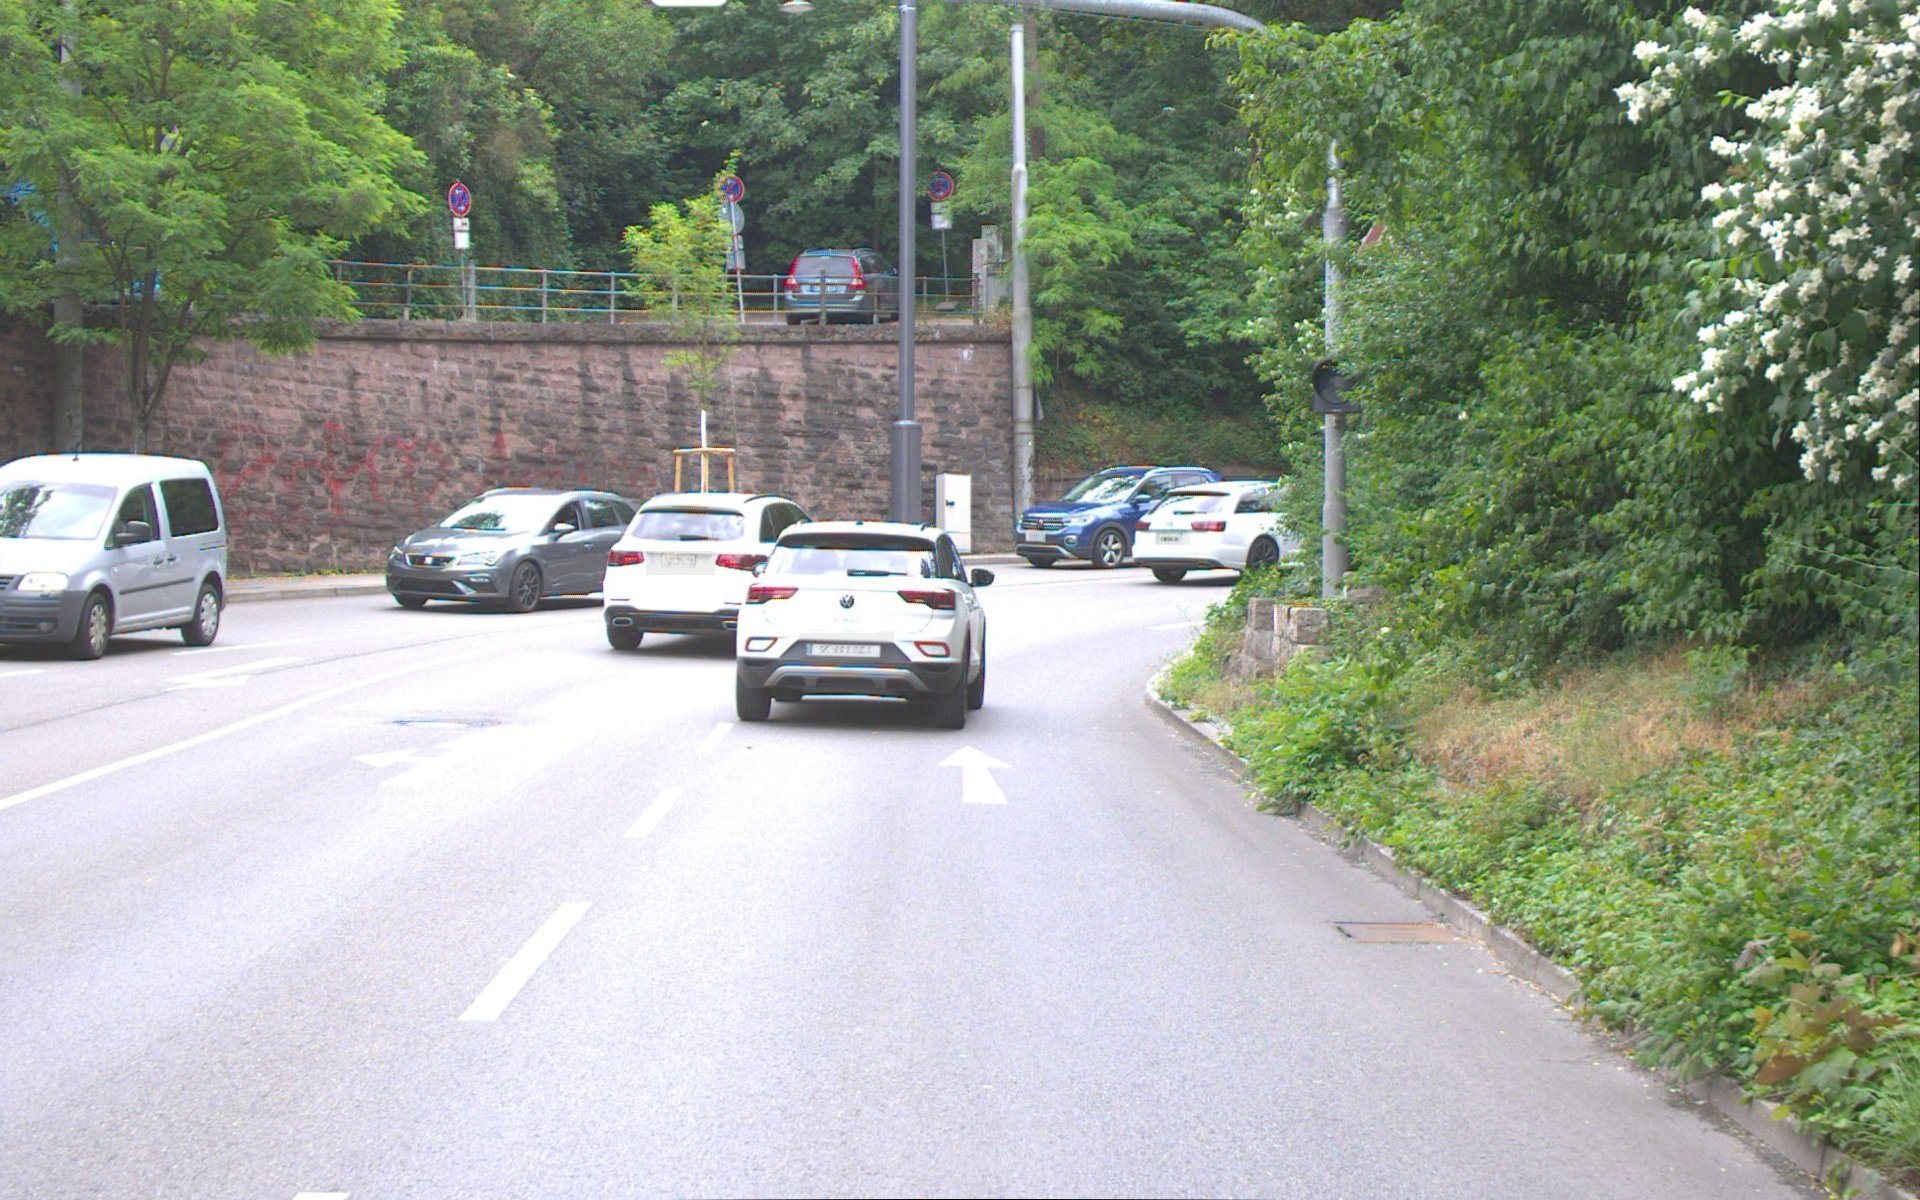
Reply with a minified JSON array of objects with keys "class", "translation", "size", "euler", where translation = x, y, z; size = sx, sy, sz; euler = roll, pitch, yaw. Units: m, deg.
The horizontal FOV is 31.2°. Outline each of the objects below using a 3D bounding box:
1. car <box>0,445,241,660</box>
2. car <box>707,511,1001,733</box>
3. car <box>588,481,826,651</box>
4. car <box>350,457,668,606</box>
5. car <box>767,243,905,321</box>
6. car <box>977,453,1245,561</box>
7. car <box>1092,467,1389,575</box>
[{"class":"car","translation":[-8.339,-0.508,31.949],"size":[1.946,1.792,4.285],"euler":[2,3,6]},{"class":"car","translation":[-0.768,0.121,27.449],"size":[1.865,1.550,3.894],"euler":[3,1,4]},{"class":"car","translation":[-2.626,-0.386,36.635],"size":[1.877,1.646,4.341],"euler":[2,1,4]},{"class":"car","translation":[-5.507,-0.868,42.552],"size":[1.948,1.688,4.280],"euler":[3,2,23]},{"class":"car","translation":[-2.447,-6.377,69.042],"size":[1.994,1.480,4.000],"euler":[0,5,9]},{"class":"car","translation":[2.455,-1.498,55.461],"size":[3.988,1.678,1.999],"euler":[-2,2,-40]},{"class":"car","translation":[4.166,-1.168,50.504],"size":[2.253,1.514,4.297],"euler":[0,2,40]}]
